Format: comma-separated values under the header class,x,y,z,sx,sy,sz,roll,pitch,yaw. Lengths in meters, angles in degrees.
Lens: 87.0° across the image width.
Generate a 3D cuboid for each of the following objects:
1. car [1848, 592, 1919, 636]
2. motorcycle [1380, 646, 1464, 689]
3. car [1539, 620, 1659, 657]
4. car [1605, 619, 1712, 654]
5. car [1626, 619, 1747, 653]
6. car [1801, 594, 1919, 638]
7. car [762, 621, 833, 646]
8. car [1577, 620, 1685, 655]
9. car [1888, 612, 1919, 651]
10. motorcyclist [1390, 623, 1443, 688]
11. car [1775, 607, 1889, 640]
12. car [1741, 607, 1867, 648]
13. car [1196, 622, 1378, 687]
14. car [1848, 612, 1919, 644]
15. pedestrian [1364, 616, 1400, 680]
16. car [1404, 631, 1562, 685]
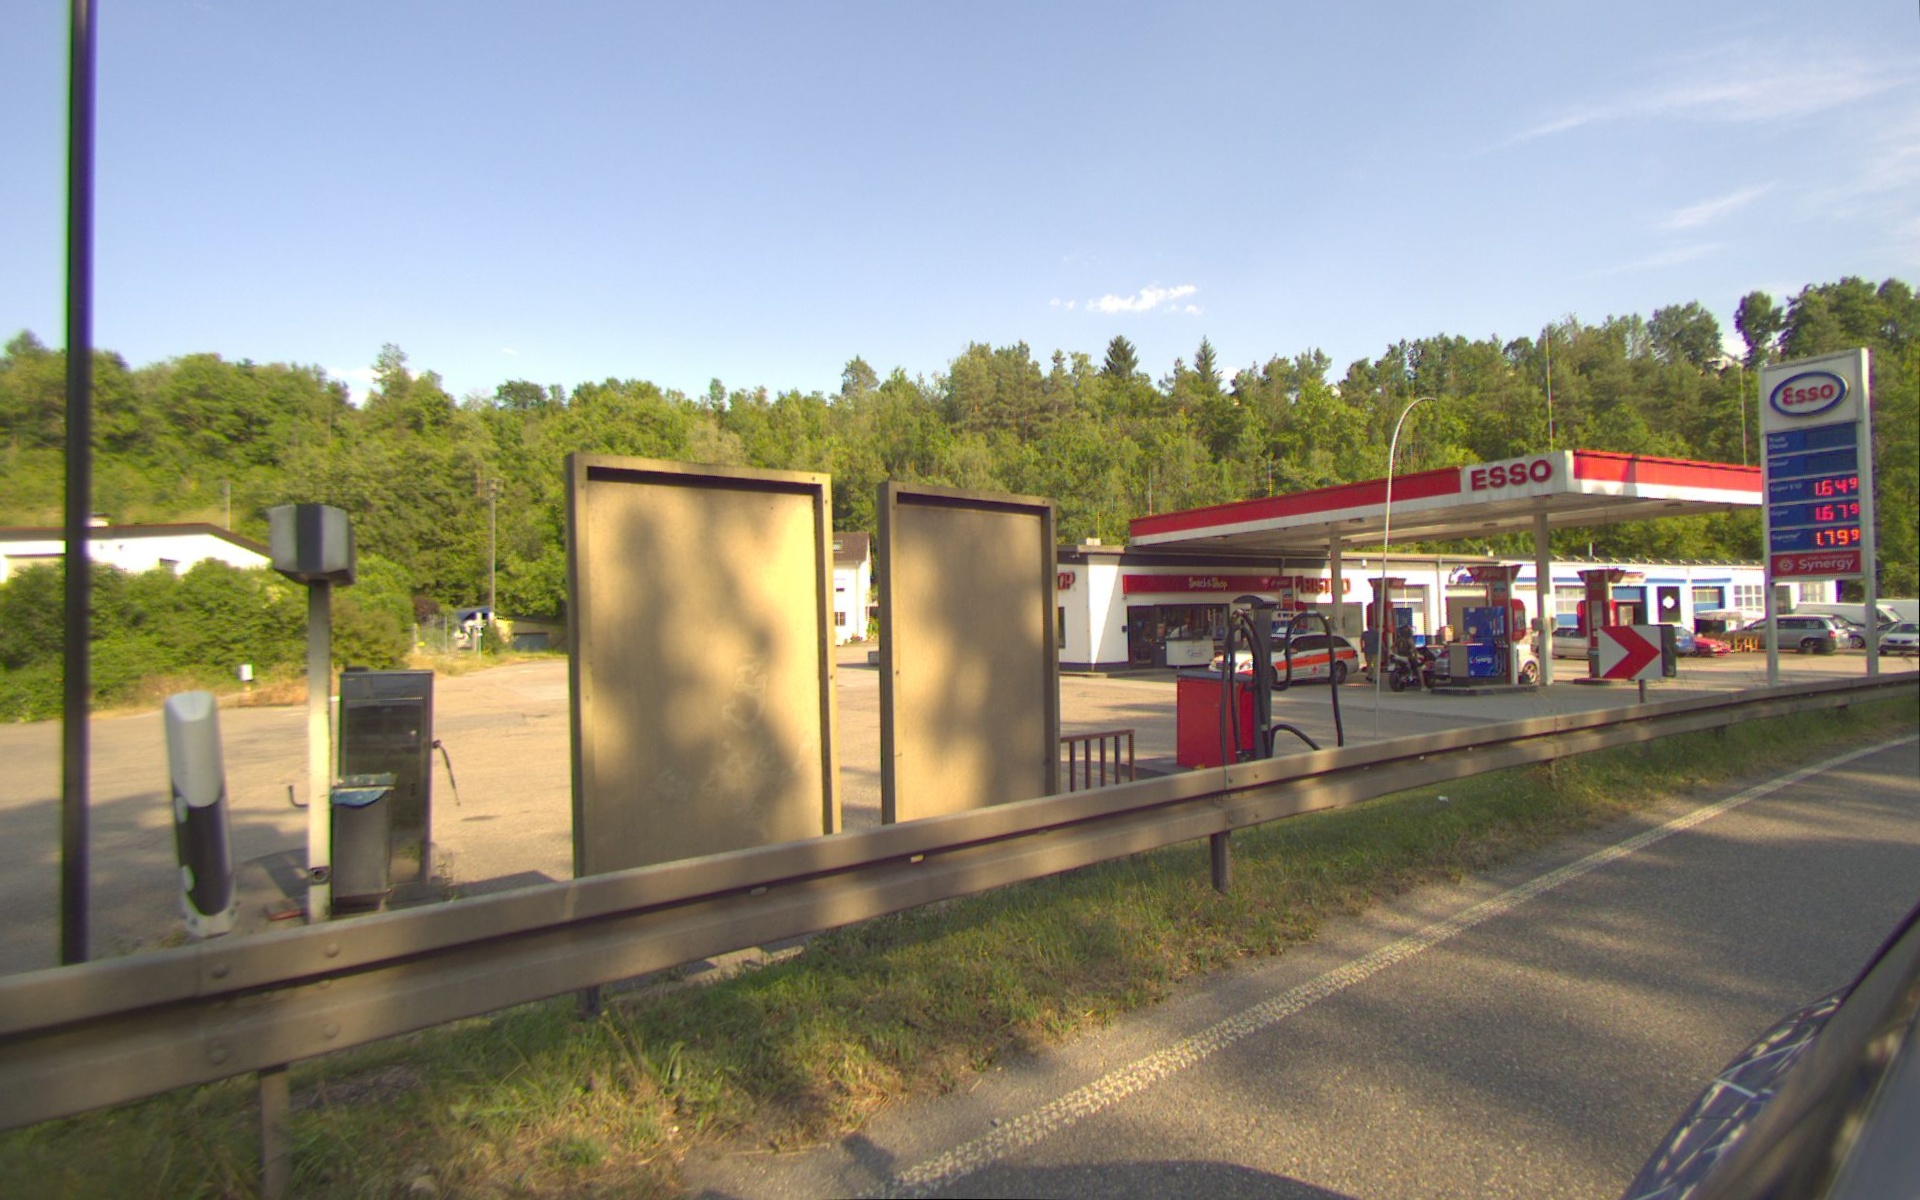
class,x,y,z,sx,sy,sz,roll,pitch,yaw
car,54.442,0.773,57.972,2.164,2.480,4.929,0,1,-30
motorcycle,12.074,1.739,26.412,2.294,1.025,0.765,0,-1,-29
car,27.074,1.608,43.010,1.742,1.372,3.972,0,0,-32
car,31.186,1.584,45.284,1.699,1.464,3.559,0,-1,-28
car,33.076,1.604,46.168,1.856,1.365,4.086,0,1,-28
car,50.919,0.849,56.636,2.249,2.302,5.499,0,1,-28
car,-12.413,2.548,77.459,5.066,1.860,2.702,-1,-2,-2
car,29.274,1.588,44.231,1.656,1.424,3.565,0,-1,-28
car,43.918,1.415,45.870,3.911,1.616,1.797,0,1,-33
motorcyclist,11.862,1.429,26.313,0.909,1.625,0.862,0,-2,-29
car,46.813,1.251,54.405,1.856,1.631,4.259,0,0,-28
car,40.571,1.273,48.745,1.854,1.750,4.266,0,1,-31
car,9.438,1.499,29.148,5.076,1.649,2.101,0,-1,-29
car,47.091,1.395,49.792,1.918,1.451,4.741,0,1,-30
pedestrian,12.081,1.365,28.989,0.607,1.800,0.705,0,-2,-34
car,14.789,1.584,28.609,4.300,1.336,1.850,0,-1,-28
